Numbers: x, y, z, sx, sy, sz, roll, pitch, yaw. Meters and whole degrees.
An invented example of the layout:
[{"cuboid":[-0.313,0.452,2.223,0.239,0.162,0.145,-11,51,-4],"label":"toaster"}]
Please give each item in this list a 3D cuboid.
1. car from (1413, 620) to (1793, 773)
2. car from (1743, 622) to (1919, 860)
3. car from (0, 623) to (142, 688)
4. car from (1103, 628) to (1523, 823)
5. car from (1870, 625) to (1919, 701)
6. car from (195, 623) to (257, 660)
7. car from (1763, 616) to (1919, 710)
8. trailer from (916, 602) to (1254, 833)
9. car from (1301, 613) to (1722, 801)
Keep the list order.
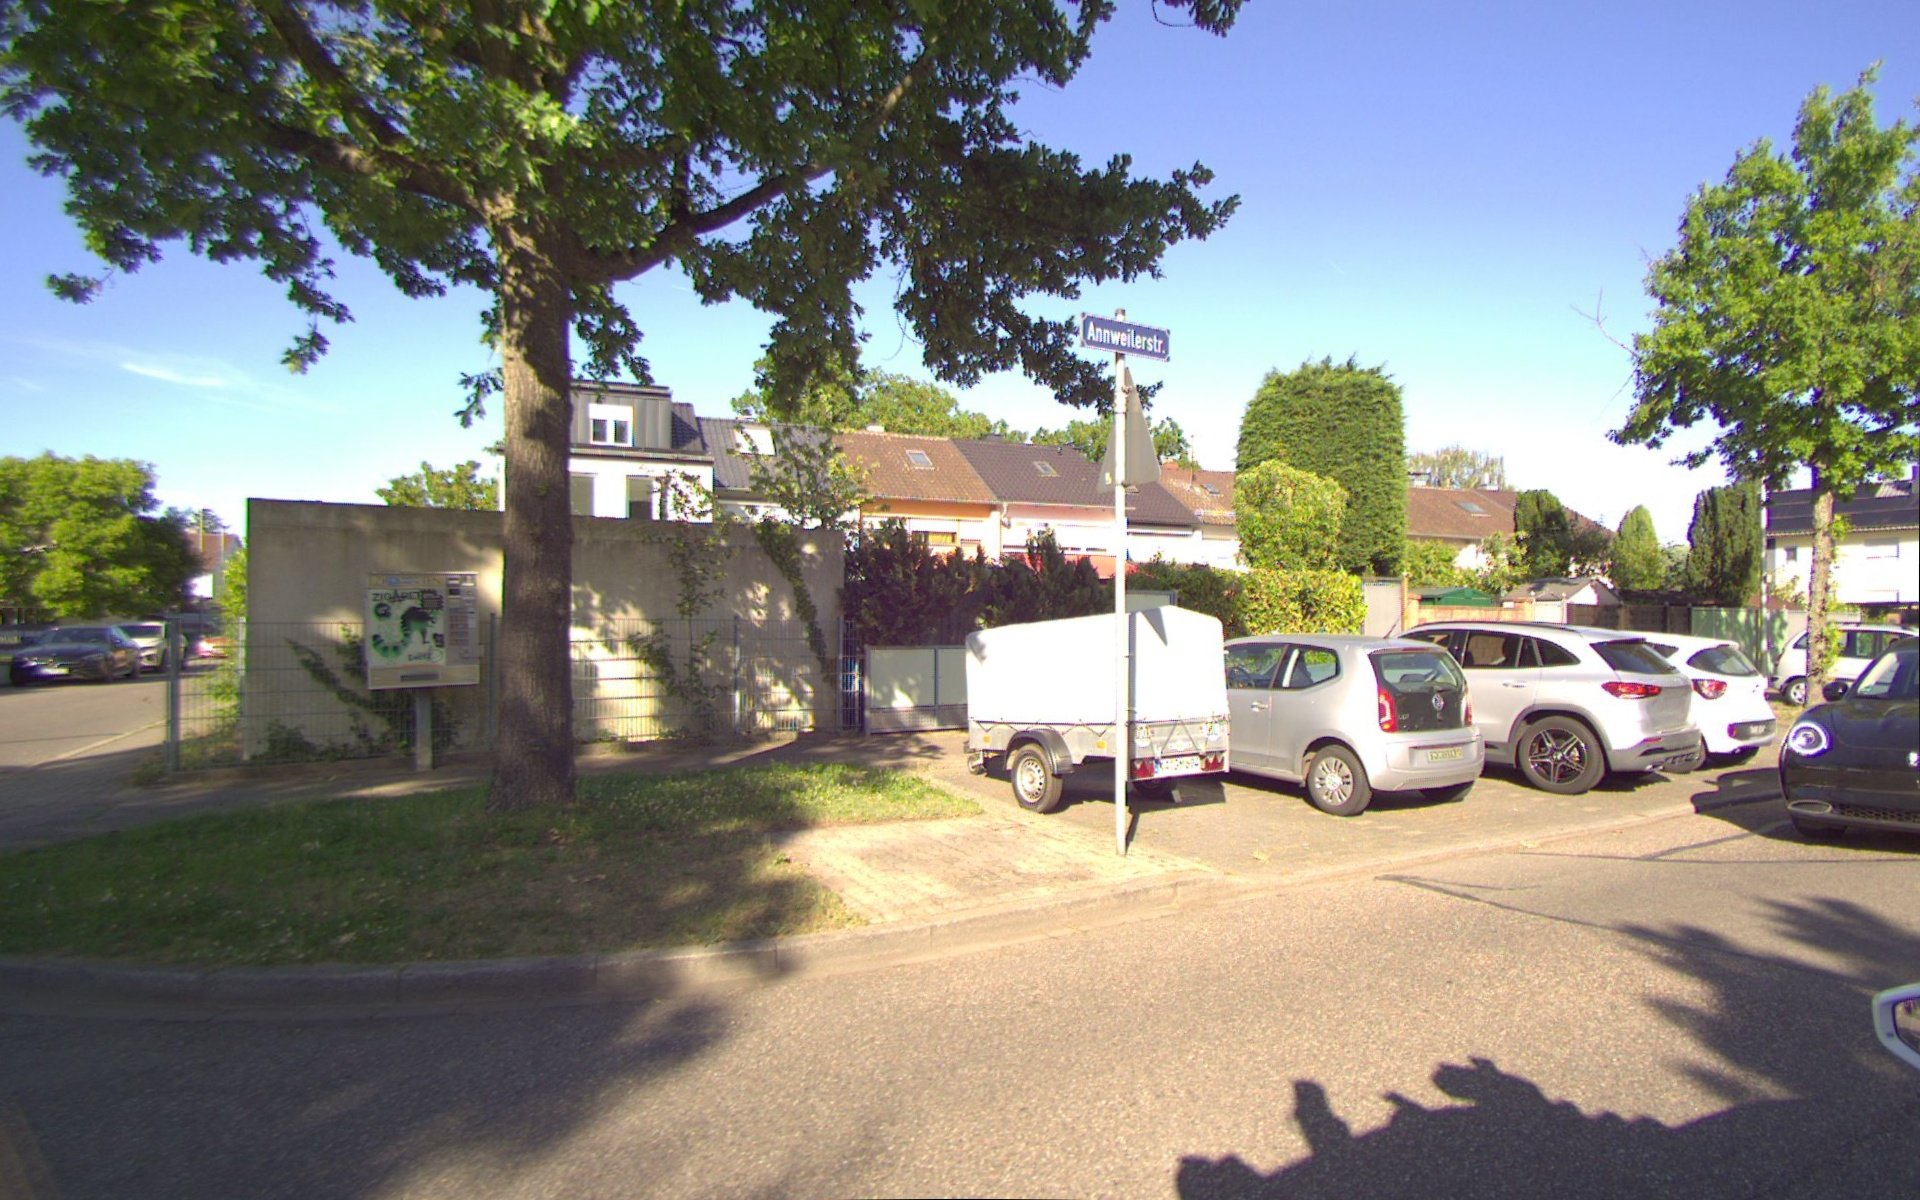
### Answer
[{"cuboid":[7.719,1.044,12.330,1.834,1.578,3.525,1,-2,-35],"label":"car"},{"cuboid":[8.017,0.964,7.737,3.956,1.575,1.899,1,-3,-33],"label":"car"},{"cuboid":[-22.284,1.343,25.358,1.978,1.505,3.966,1,-2,-32],"label":"car"},{"cuboid":[3.199,1.022,9.734,1.787,1.496,3.531,1,-2,-31],"label":"car"},{"cuboid":[22.441,1.387,21.511,1.976,1.661,3.969,1,-1,-29],"label":"car"},{"cuboid":[-31.921,1.787,43.765,1.812,1.505,3.966,3,-3,-32],"label":"car"},{"cuboid":[17.884,1.154,18.851,1.976,1.692,3.969,1,-1,-30],"label":"car"},{"cuboid":[0.972,0.897,8.921,1.382,1.677,2.948,1,-2,-35],"label":"trailer"},{"cuboid":[5.697,0.975,10.708,1.835,1.635,3.524,1,-2,-37],"label":"car"}]
